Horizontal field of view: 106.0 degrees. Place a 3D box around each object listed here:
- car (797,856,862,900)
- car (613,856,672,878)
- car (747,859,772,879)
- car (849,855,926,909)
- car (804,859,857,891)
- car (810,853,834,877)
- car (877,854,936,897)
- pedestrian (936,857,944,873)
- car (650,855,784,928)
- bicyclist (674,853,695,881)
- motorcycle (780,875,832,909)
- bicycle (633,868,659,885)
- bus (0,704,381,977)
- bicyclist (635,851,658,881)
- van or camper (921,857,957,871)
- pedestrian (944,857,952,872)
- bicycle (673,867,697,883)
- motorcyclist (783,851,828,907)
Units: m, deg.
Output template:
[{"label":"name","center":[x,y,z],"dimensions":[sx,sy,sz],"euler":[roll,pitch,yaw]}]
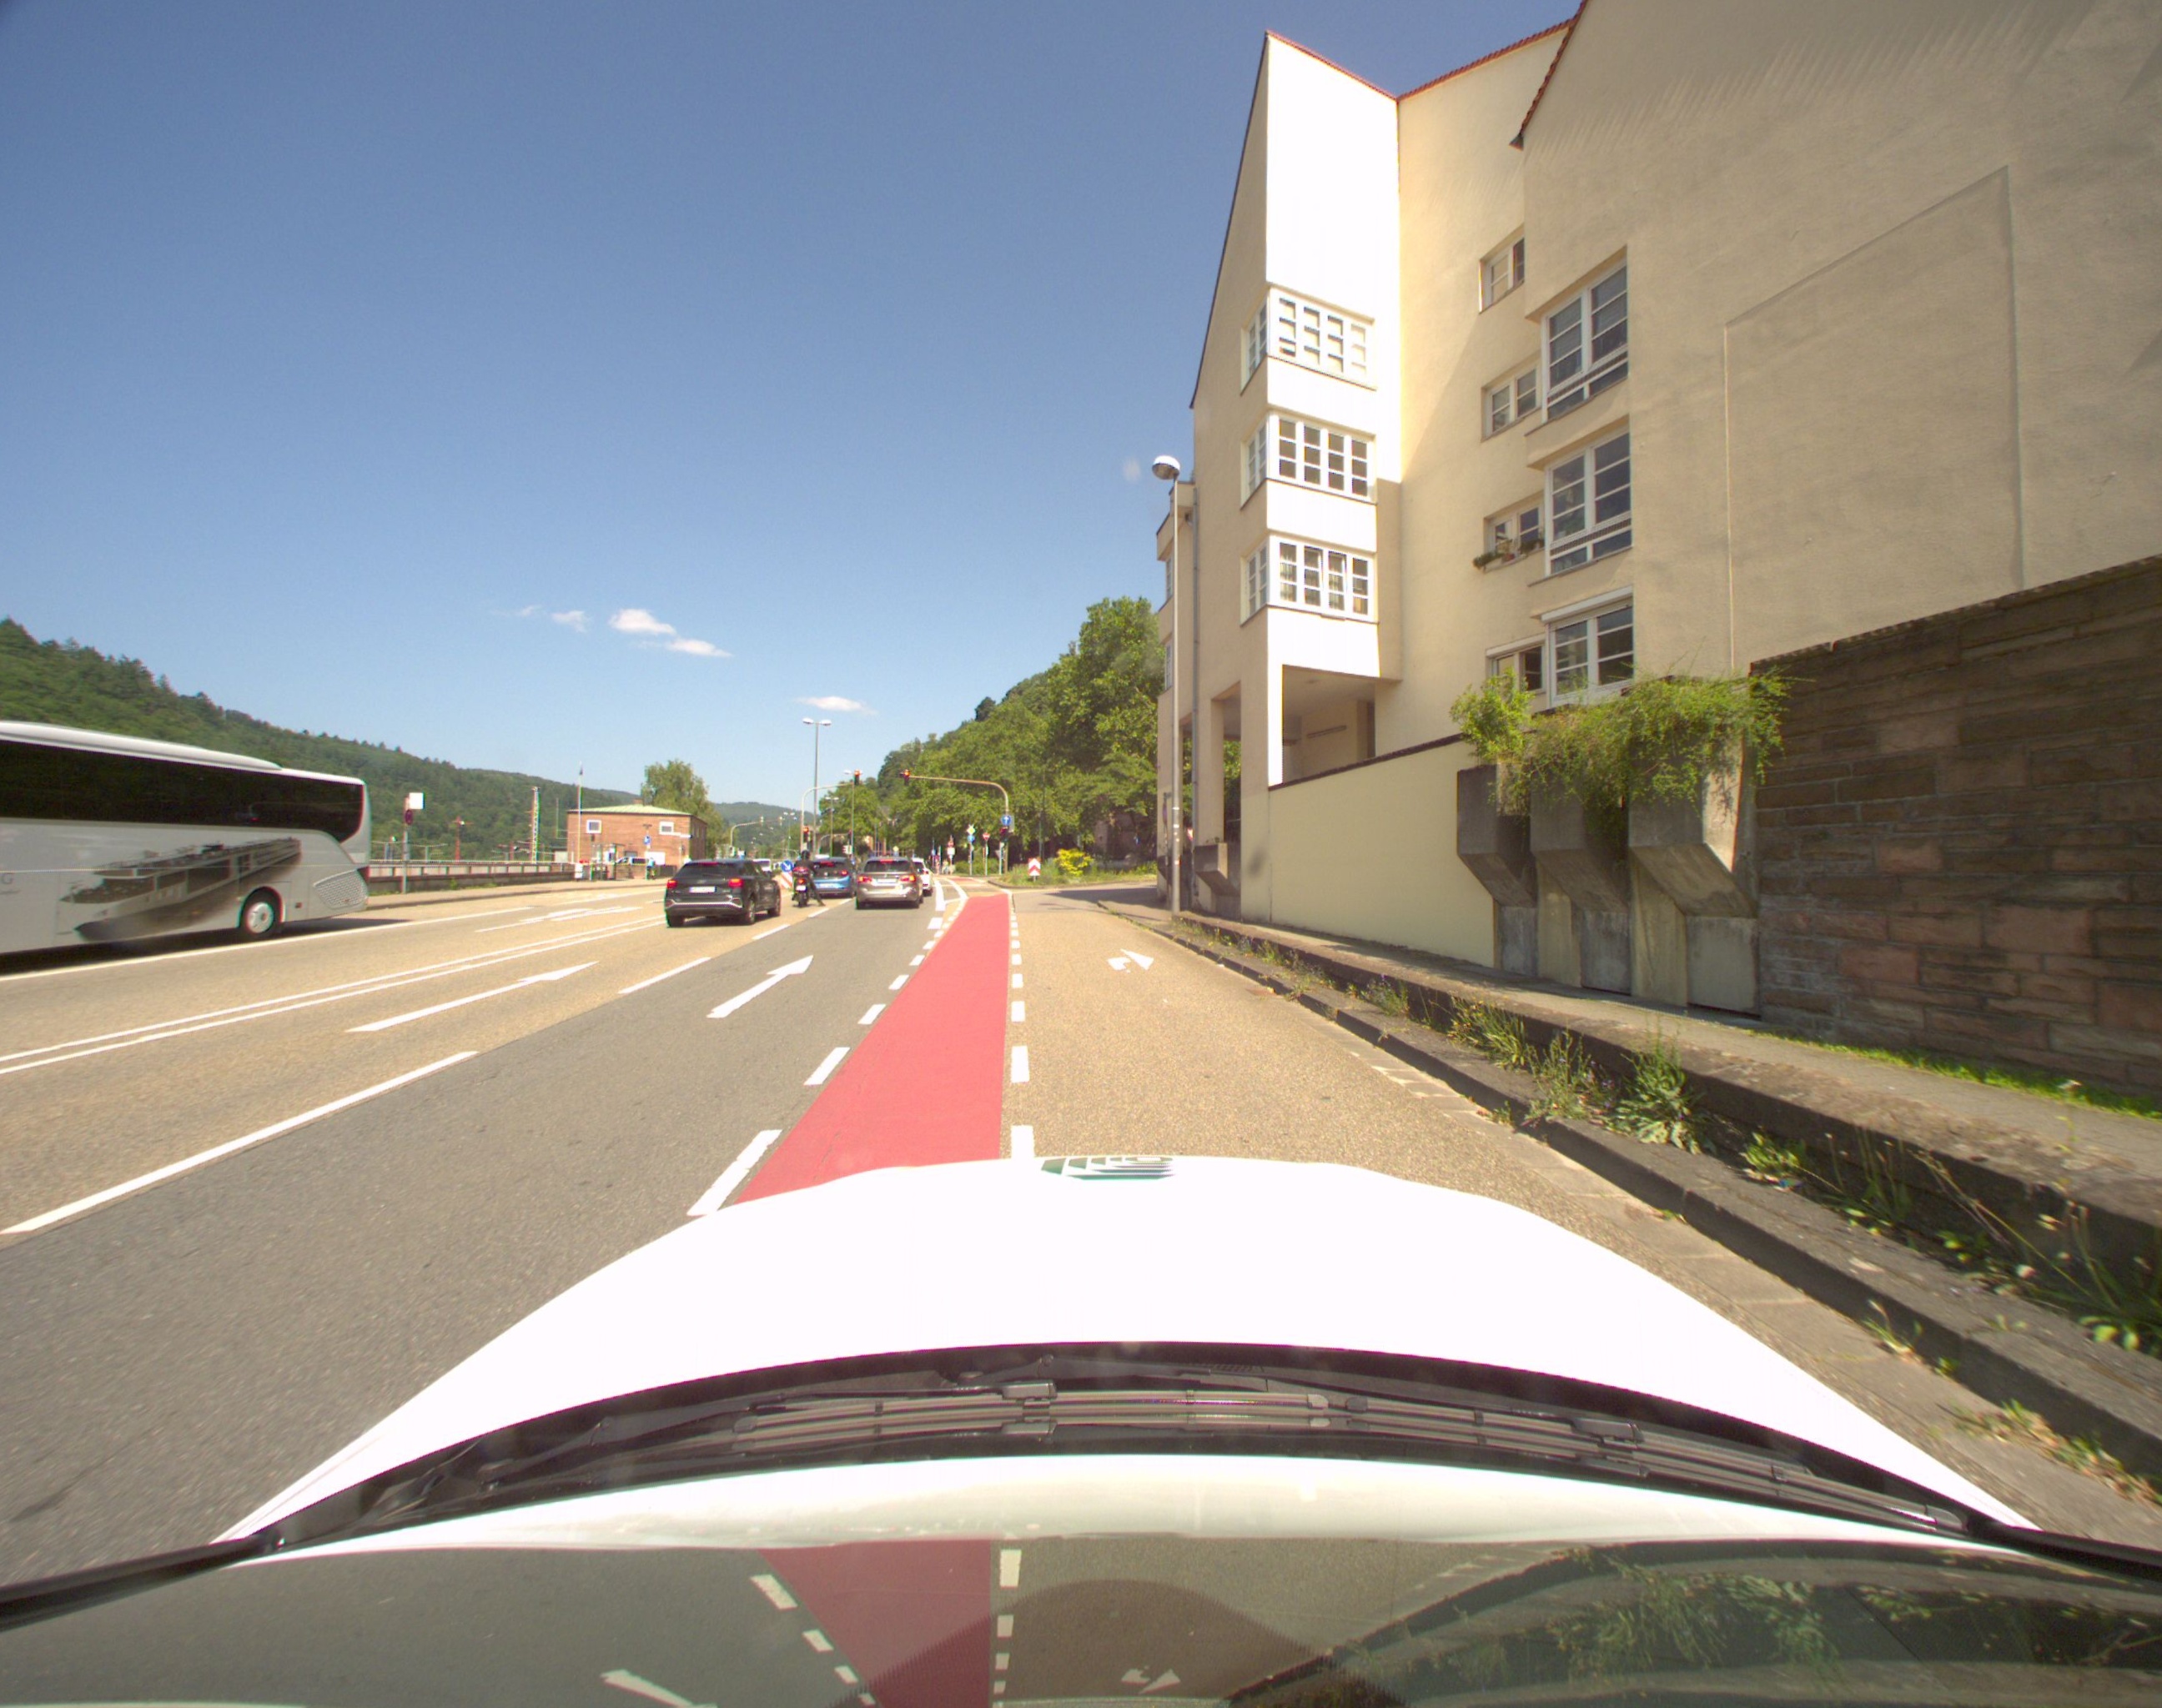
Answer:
[{"label":"car","center":[-9.638,0.866,31.450],"dimensions":[1.867,1.562,3.986],"euler":[-1,0,-10]},{"label":"car","center":[-42.263,1.233,78.551],"dimensions":[1.974,2.013,4.647],"euler":[-1,0,39]},{"label":"car","center":[-35.163,1.592,89.103],"dimensions":[2.221,2.078,5.012],"euler":[-1,0,-19]},{"label":"car","center":[-5.879,0.803,25.213],"dimensions":[1.887,1.521,4.294],"euler":[0,0,-8]},{"label":"car","center":[-11.882,0.971,38.841],"dimensions":[1.867,1.359,3.986],"euler":[-1,0,-10]},{"label":"car","center":[-29.836,1.232,93.589],"dimensions":[2.391,2.576,6.014],"euler":[-1,0,-20]},{"label":"car","center":[-6.900,0.799,32.624],"dimensions":[1.993,1.533,4.844],"euler":[-1,0,-9]},{"label":"pedestrian","center":[-16.166,1.269,93.351],"dimensions":[0.760,1.719,0.794],"euler":[-1,0,-3]},{"label":"car","center":[-8.532,0.821,19.479],"dimensions":[1.869,1.514,4.138],"euler":[-1,0,-9]},{"label":"bicyclist","center":[-29.112,0.917,59.871],"dimensions":[1.215,2.013,1.112],"euler":[-1,0,-18]},{"label":"motorcycle","center":[-8.501,1.152,25.270],"dimensions":[1.037,0.919,2.598],"euler":[-1,0,-8]},{"label":"bicycle","center":[-30.554,1.549,57.252],"dimensions":[1.216,1.090,2.582],"euler":[-1,0,-18]},{"label":"bus","center":[-16.841,-0.255,12.634],"dimensions":[2.959,3.801,13.187],"euler":[3,-1,-12]},{"label":"bicyclist","center":[-30.592,0.827,57.302],"dimensions":[1.215,2.013,1.112],"euler":[-1,0,-18]},{"label":"van or camper","center":[-19.974,1.433,114.903],"dimensions":[4.516,1.902,2.005],"euler":[-1,0,8]},{"label":"pedestrian","center":[-15.249,1.222,93.385],"dimensions":[0.760,1.708,0.877],"euler":[-1,0,-2]},{"label":"bicycle","center":[-29.074,1.555,59.806],"dimensions":[1.216,1.090,2.582],"euler":[-1,0,-18]},{"label":"motorcyclist","center":[-8.486,0.751,25.118],"dimensions":[1.075,1.684,1.153],"euler":[-1,0,-8]}]
